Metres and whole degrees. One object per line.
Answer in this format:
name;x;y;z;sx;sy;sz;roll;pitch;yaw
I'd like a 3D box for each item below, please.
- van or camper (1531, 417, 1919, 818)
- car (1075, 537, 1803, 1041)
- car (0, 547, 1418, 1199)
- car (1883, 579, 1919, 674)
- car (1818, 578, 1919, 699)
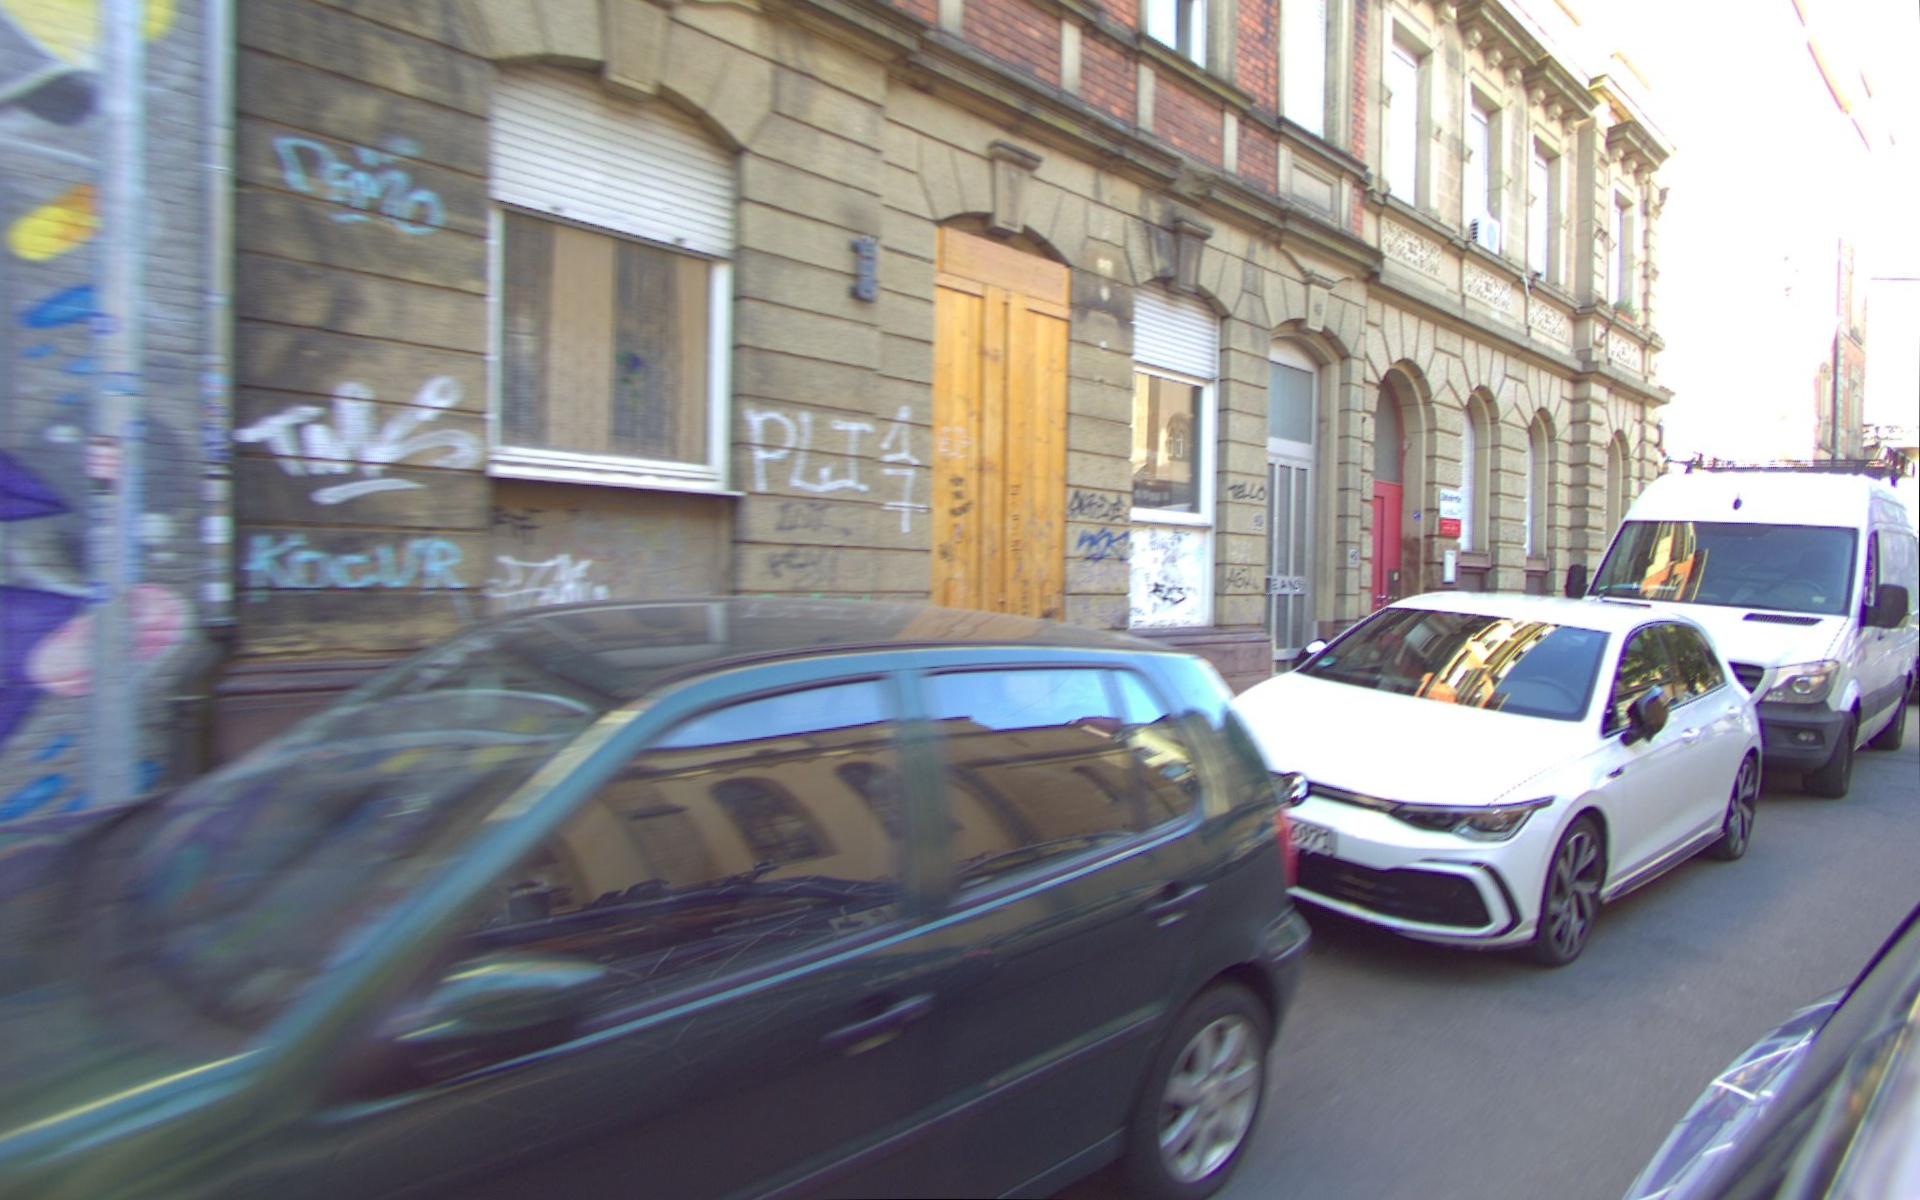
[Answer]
van or camper;7.535;0.060;9.414;5.875;2.665;1.997;-1;1;-41
car;2.899;0.583;5.587;4.484;1.667;1.997;-1;1;-41
car;-0.739;0.682;2.194;3.842;1.505;1.590;-1;1;-39
car;18.330;0.447;18.523;3.894;1.645;1.695;0;1;-41
car;14.266;0.501;15.096;3.746;1.645;1.695;0;1;-41
